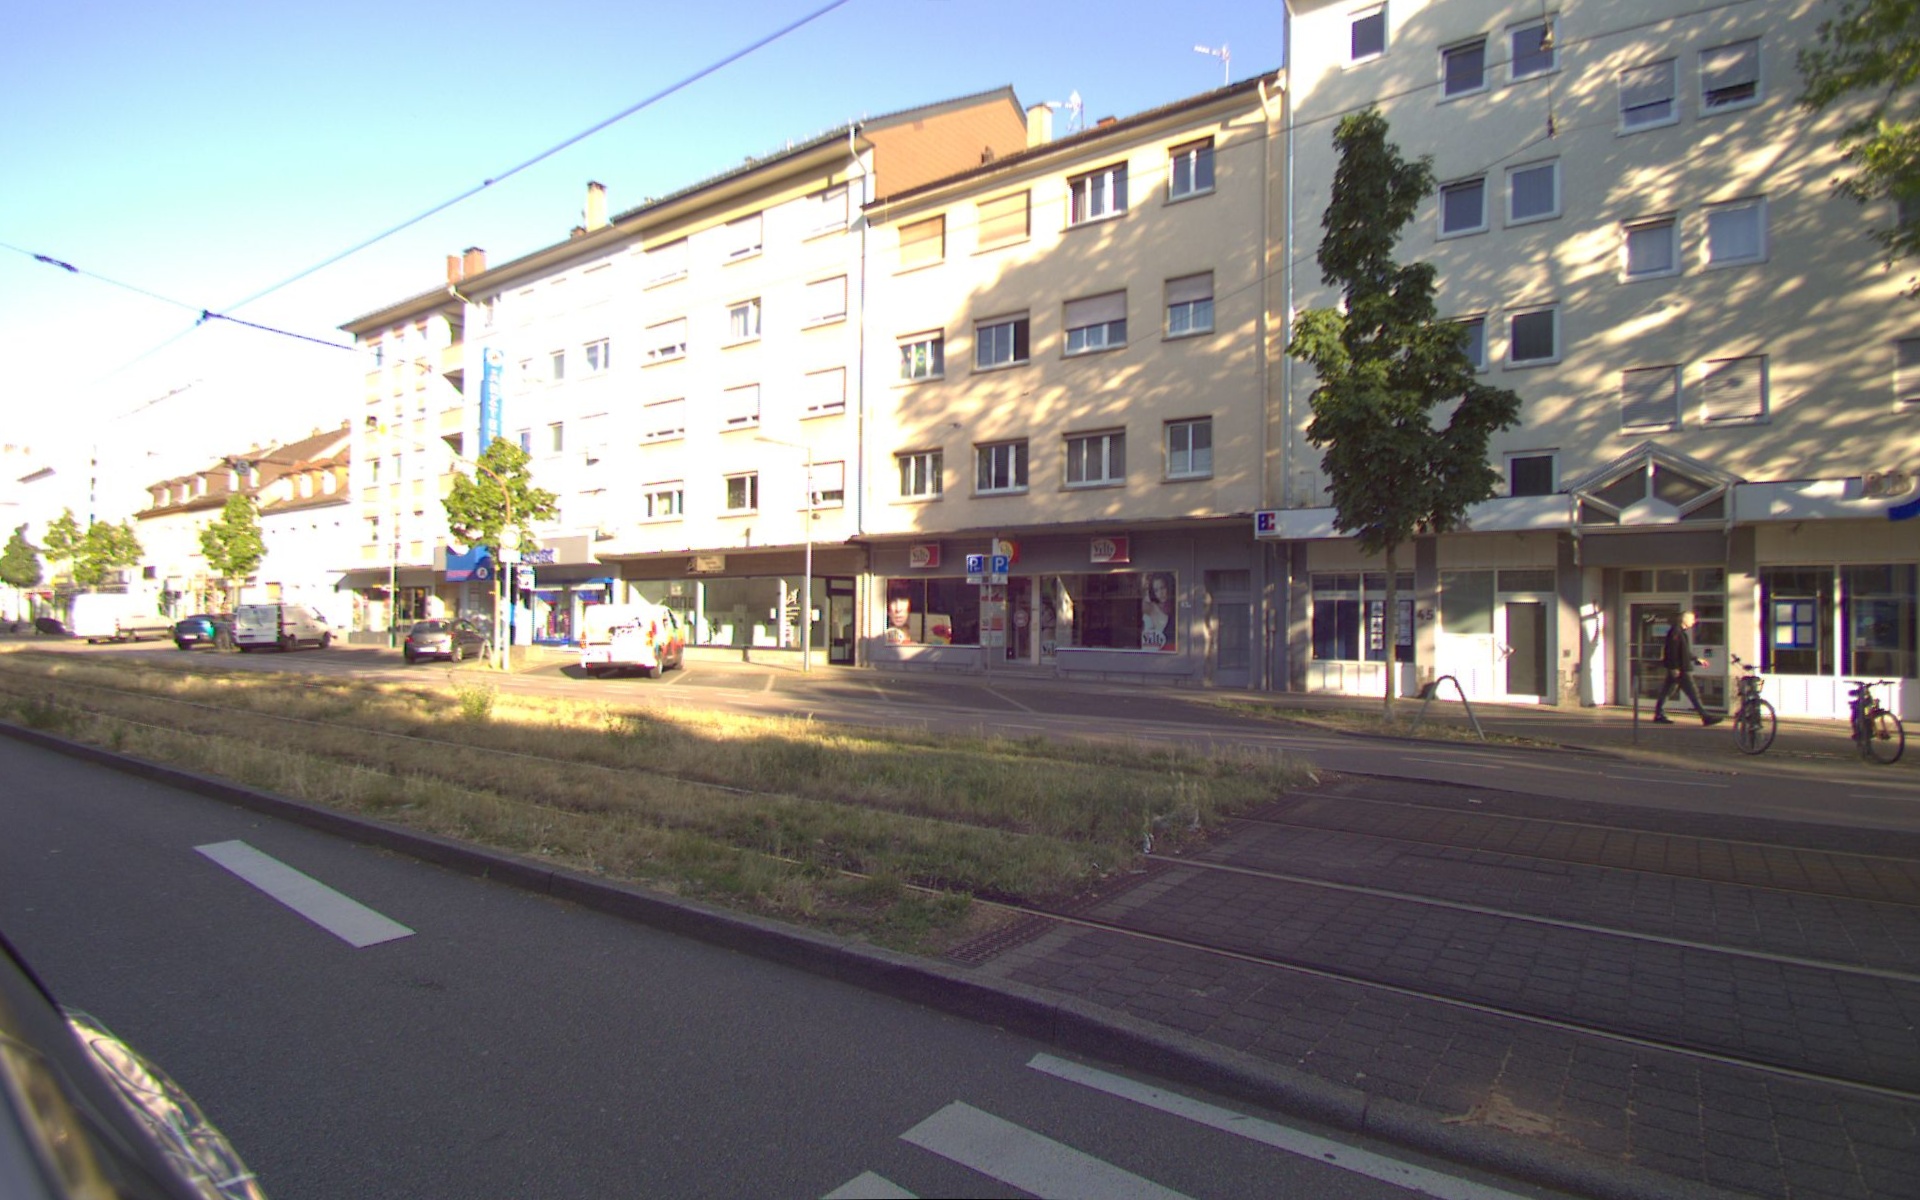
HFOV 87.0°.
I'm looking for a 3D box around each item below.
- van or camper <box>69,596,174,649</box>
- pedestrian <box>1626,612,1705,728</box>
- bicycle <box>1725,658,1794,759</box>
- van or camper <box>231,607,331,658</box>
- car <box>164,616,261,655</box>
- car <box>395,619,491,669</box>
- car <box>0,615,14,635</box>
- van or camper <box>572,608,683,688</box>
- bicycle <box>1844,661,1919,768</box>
[{"bbox_3d":[-45.388,1.164,55.015,1.966,2.687,6.417,-1,0,-16],"label":"van or camper"},{"bbox_3d":[11.398,1.104,16.358,0.970,1.801,0.612,-1,0,41],"label":"pedestrian"},{"bbox_3d":[10.367,1.366,13.157,0.533,1.133,1.878,-1,-1,34],"label":"bicycle"},{"bbox_3d":[-28.568,1.300,42.756,1.771,2.004,4.460,-1,0,-9],"label":"van or camper"},{"bbox_3d":[-34.301,1.598,46.577,1.850,1.598,4.007,-1,0,-7],"label":"car"},{"bbox_3d":[-17.616,1.453,34.702,1.741,1.501,4.461,-1,0,-11],"label":"car"},{"bbox_3d":[-73.400,1.890,75.453,1.752,1.501,3.899,-1,0,13],"label":"car"},{"bbox_3d":[-8.890,1.213,27.492,1.921,1.912,4.822,-1,0,-6],"label":"van or camper"},{"bbox_3d":[11.392,1.361,12.439,0.533,1.133,1.878,-1,-1,34],"label":"bicycle"}]
